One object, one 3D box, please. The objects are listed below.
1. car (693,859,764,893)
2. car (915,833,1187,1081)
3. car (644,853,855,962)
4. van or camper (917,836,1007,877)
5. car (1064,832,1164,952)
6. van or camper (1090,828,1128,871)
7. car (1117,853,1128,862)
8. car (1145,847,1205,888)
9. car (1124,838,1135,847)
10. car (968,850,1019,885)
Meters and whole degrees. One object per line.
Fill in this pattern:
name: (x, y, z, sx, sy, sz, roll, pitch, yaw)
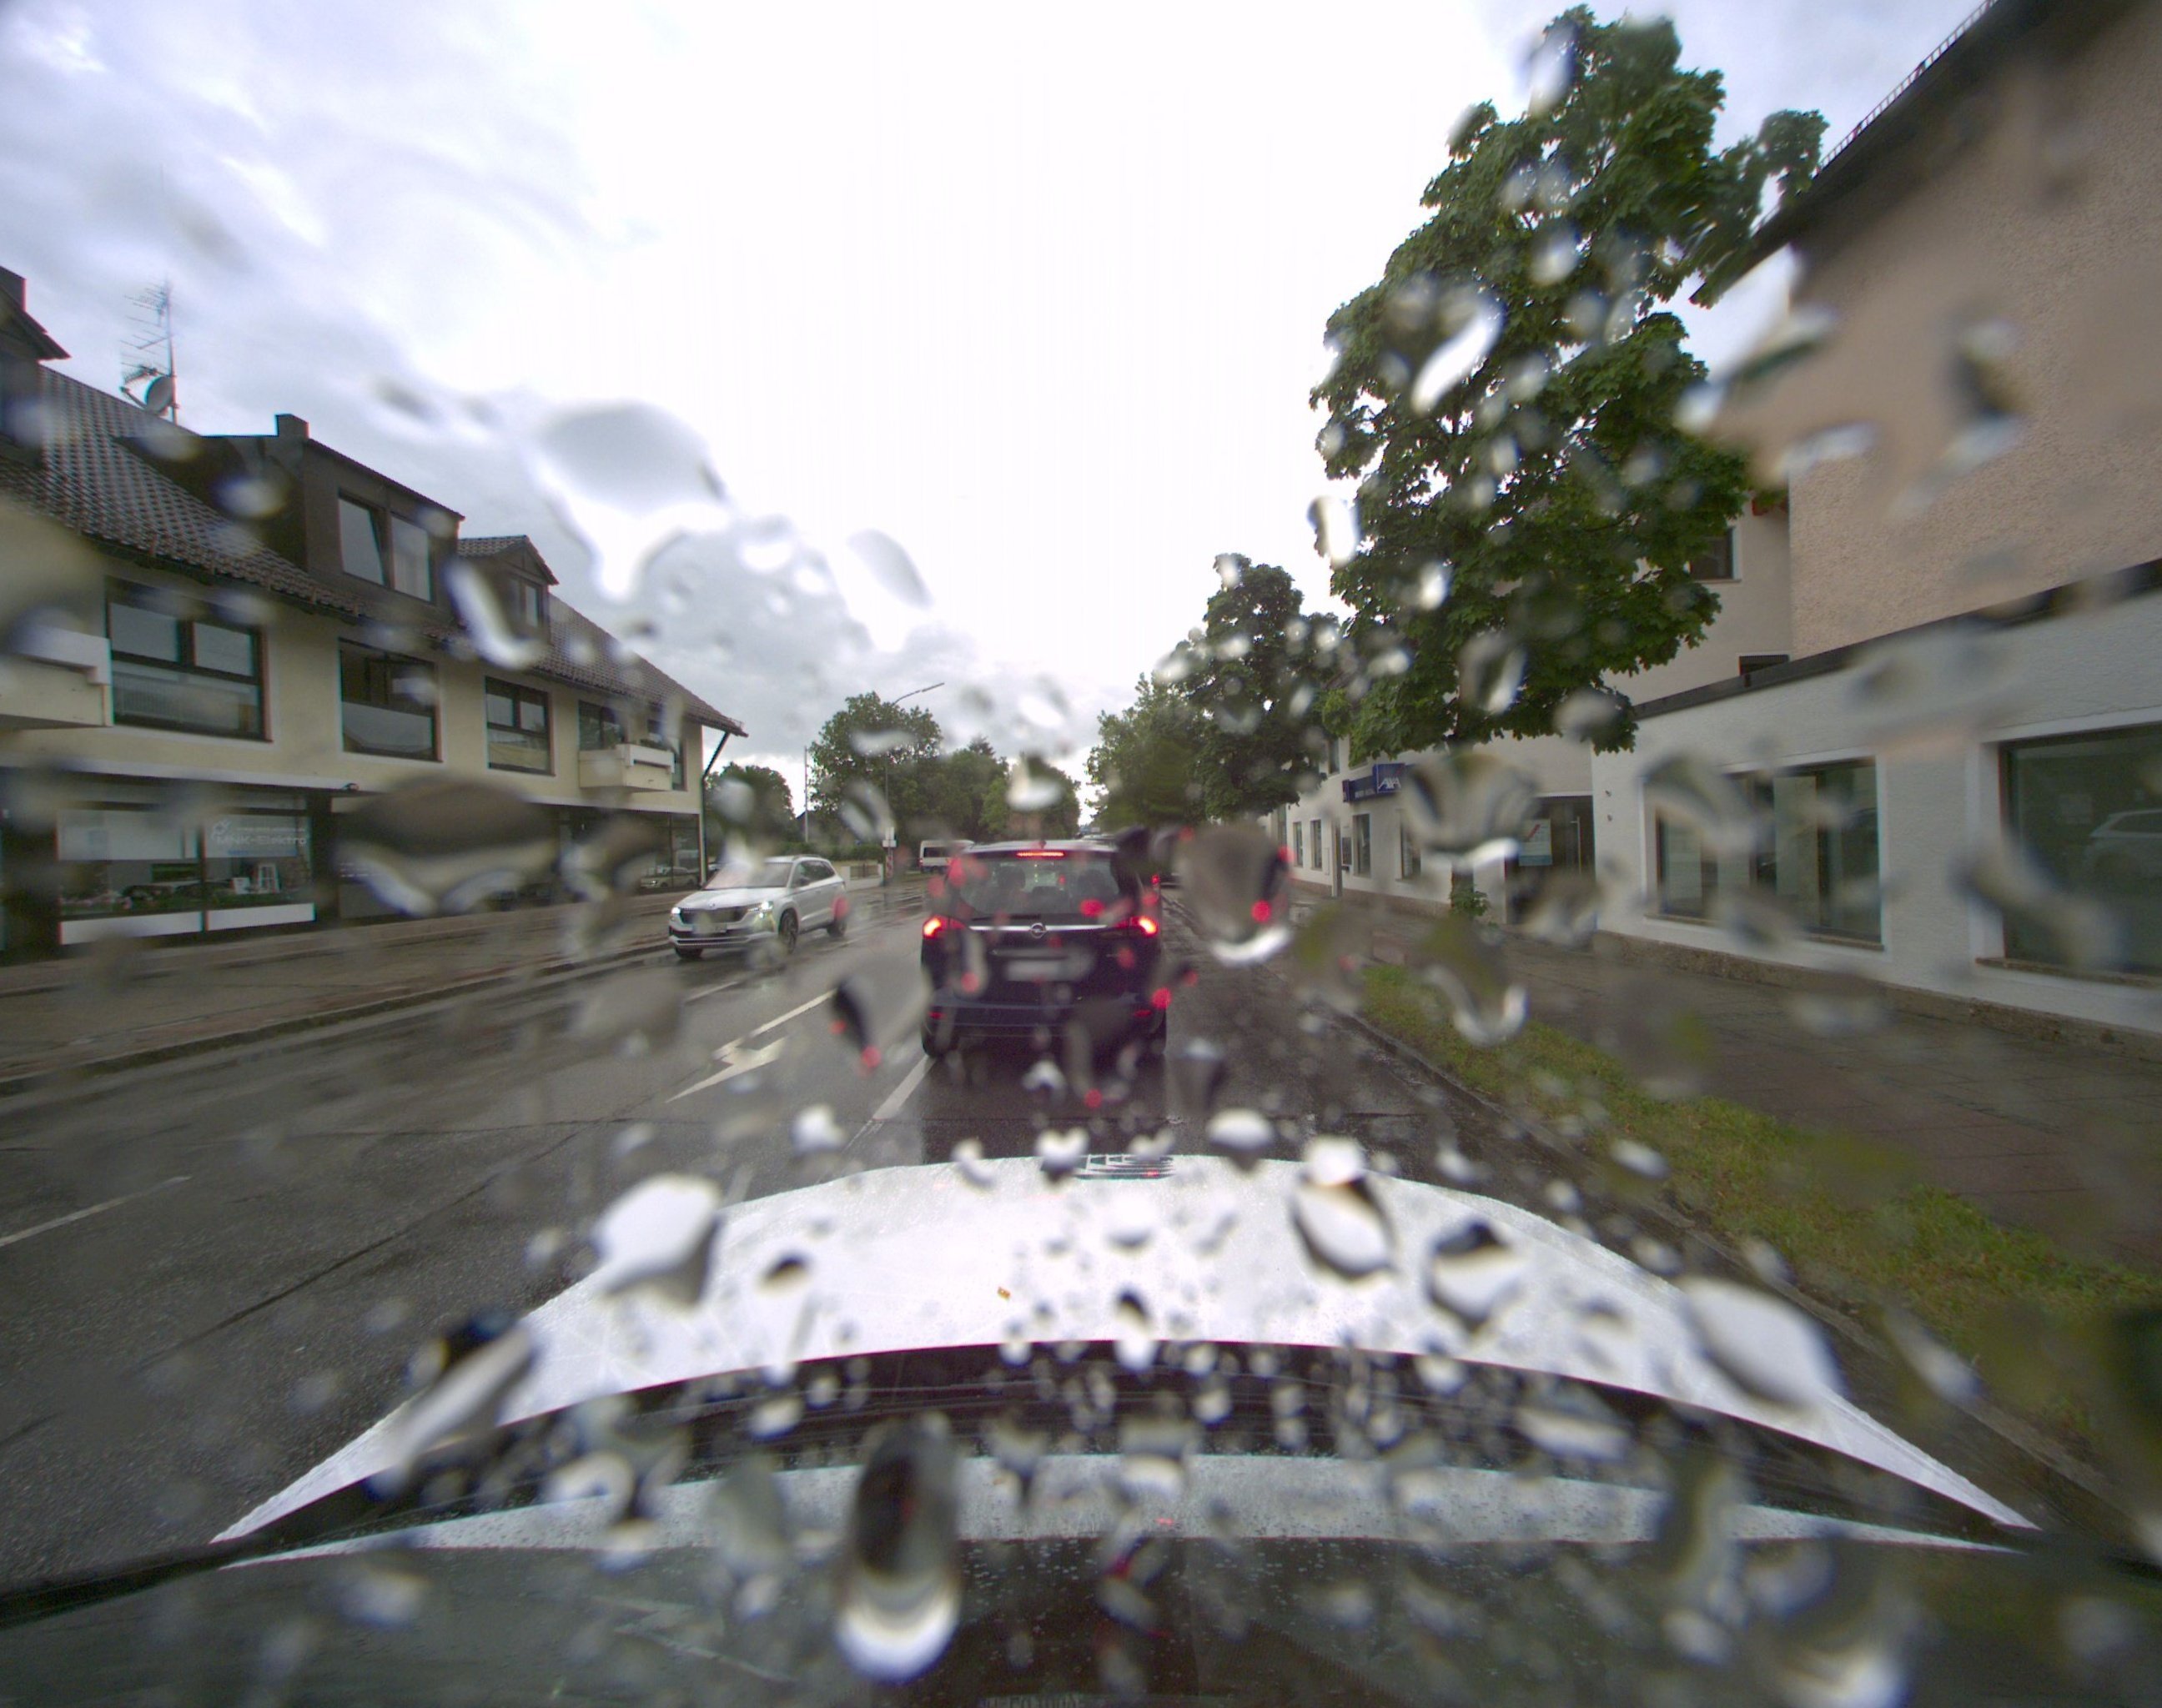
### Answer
car: (-16.295, 0.994, 37.825, 1.601, 1.380, 3.510, -3, 0, 1)
car: (-0.142, 0.669, 7.168, 1.762, 1.604, 3.664, -1, 0, 2)
car: (-5.613, 0.812, 14.425, 1.920, 1.566, 4.127, -2, 0, 1)
van or camper: (-8.665, 0.162, 59.625, 6.233, 2.707, 2.099, -2, 0, -3)
car: (0.540, 0.565, 13.743, 1.495, 1.776, 3.113, 0, 0, 2)
van or camper: (1.878, -0.299, 55.407, 2.351, 2.665, 5.373, -2, 0, 2)
car: (6.262, 0.541, 122.771, 1.624, 1.378, 3.624, 0, 0, 1)
car: (3.872, 0.539, 34.140, 2.110, 1.581, 3.936, 0, 0, 1)
car: (7.849, -1.867, 132.296, 1.624, 1.378, 3.624, -3, 0, 1)
car: (-4.218, 0.616, 39.864, 1.745, 1.511, 4.233, -3, 0, 3)
